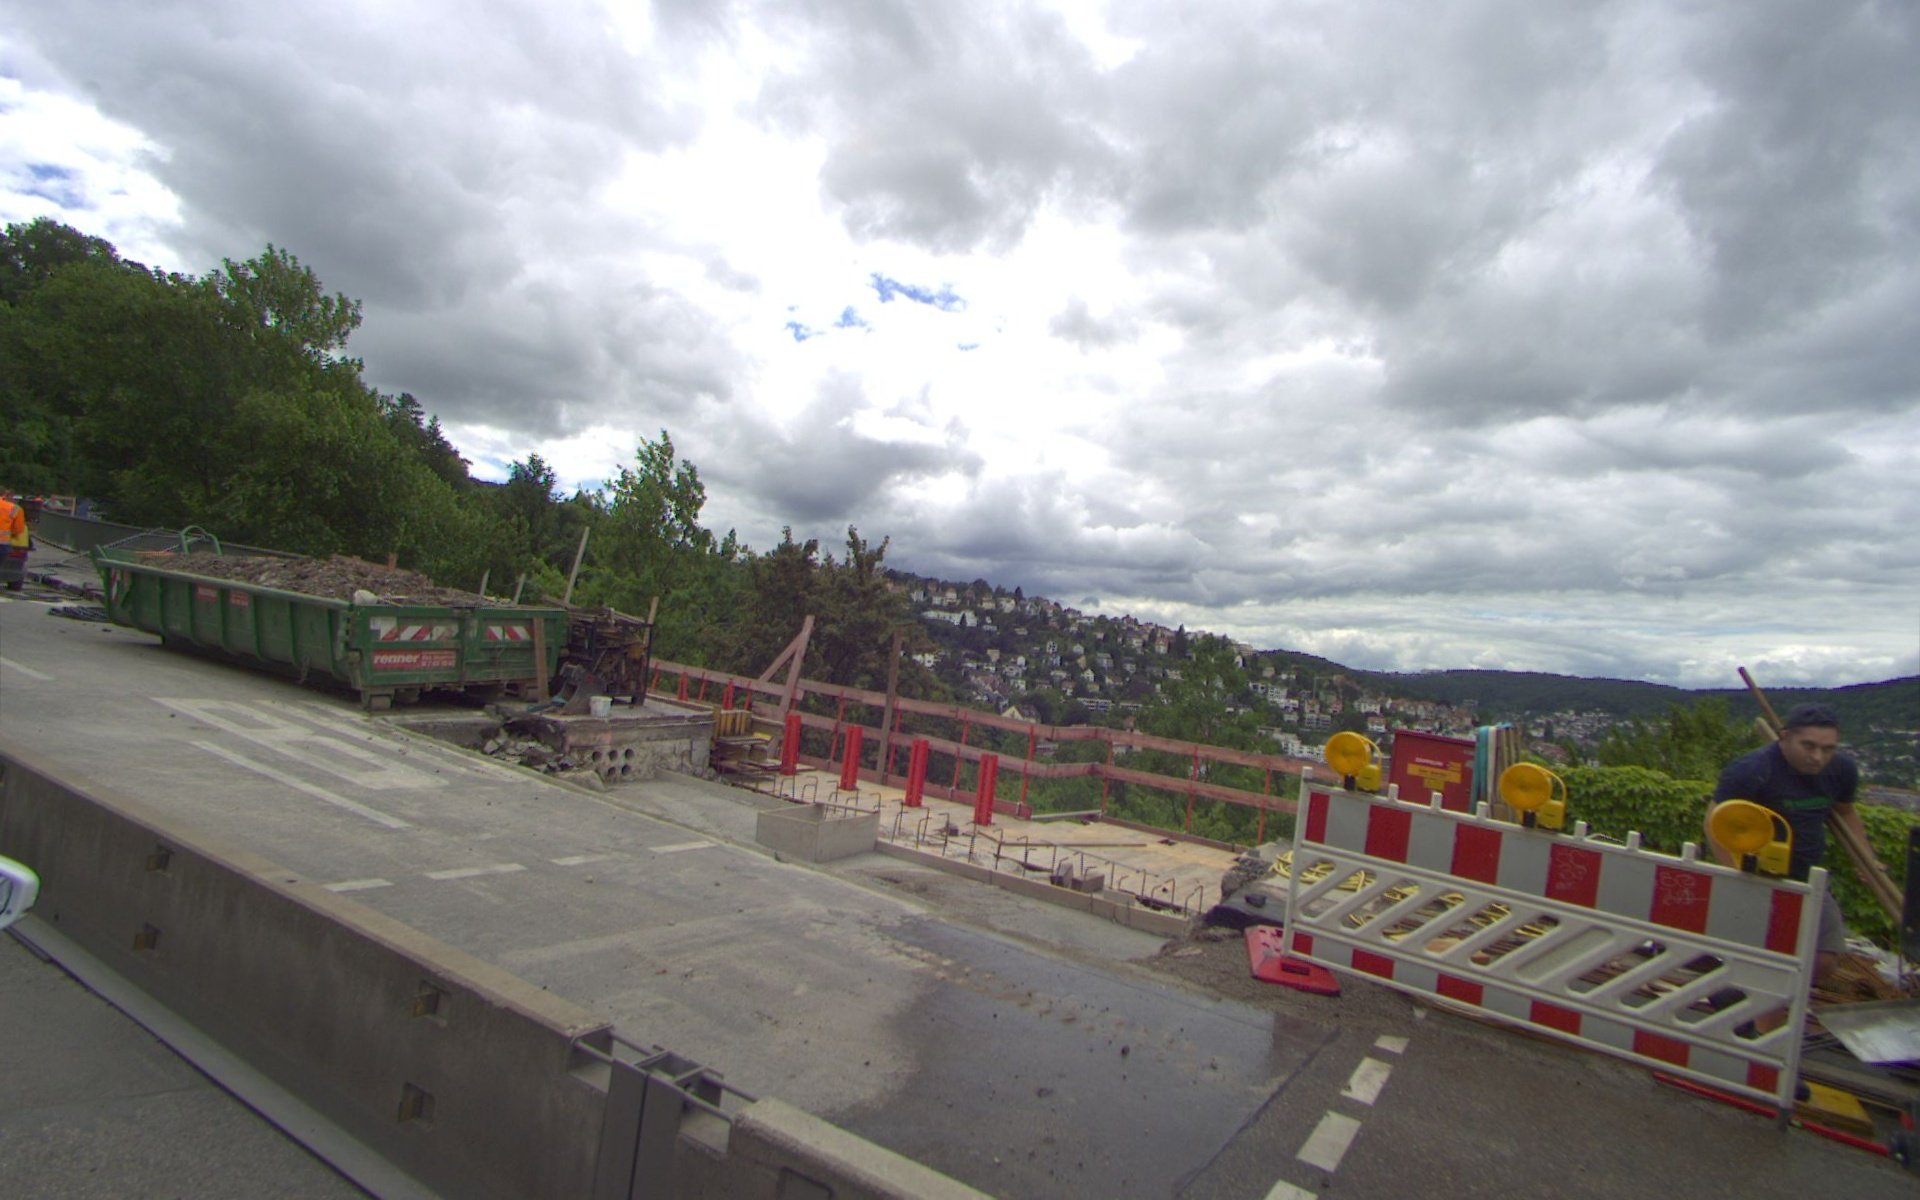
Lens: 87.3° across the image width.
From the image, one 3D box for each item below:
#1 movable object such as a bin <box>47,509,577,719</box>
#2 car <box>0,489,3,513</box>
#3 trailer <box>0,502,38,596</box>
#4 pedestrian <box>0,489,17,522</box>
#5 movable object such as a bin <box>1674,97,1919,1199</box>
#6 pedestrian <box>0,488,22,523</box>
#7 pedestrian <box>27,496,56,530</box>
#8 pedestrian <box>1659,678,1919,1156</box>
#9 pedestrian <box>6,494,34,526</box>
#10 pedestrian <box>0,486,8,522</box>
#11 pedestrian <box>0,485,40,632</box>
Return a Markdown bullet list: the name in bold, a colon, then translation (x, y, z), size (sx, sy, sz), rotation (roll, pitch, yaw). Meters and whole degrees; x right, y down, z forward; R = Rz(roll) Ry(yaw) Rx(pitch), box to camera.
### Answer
- **movable object such as a bin**: translation (-7.957, 0.090, 12.050), size (6.980, 1.579, 2.379), rotation (7, -2, 31)
- **car**: translation (-23.344, -1.819, 22.634), size (4.203, 1.800, 1.833), rotation (7, -1, 37)
- **trailer**: translation (-17.373, -1.033, 17.537), size (3.580, 1.492, 1.288), rotation (7, -2, 39)
- **pedestrian**: translation (-52.864, -5.229, 55.582), size (0.871, 1.752, 0.870), rotation (7, 0, -35)
- **movable object such as a bin**: translation (5.530, 0.692, 0.632), size (7.688, 3.106, 2.819), rotation (7, -2, 29)
- **pedestrian**: translation (-53.388, -5.313, 56.417), size (0.871, 1.844, 0.870), rotation (7, 0, -35)
- **pedestrian**: translation (-50.564, -4.793, 55.384), size (0.774, 1.708, 0.782), rotation (7, 0, -19)
- **pedestrian**: translation (3.585, 1.282, 4.379), size (0.530, 1.816, 0.691), rotation (8, 0, 20)
- **pedestrian**: translation (-51.775, -4.960, 55.414), size (0.774, 1.627, 0.664), rotation (7, 0, -19)
- **pedestrian**: translation (-52.436, -5.253, 54.733), size (0.814, 1.930, 0.689), rotation (7, 0, 43)
- **pedestrian**: translation (-11.819, -0.546, 12.161), size (0.836, 1.721, 0.646), rotation (7, -2, 32)
